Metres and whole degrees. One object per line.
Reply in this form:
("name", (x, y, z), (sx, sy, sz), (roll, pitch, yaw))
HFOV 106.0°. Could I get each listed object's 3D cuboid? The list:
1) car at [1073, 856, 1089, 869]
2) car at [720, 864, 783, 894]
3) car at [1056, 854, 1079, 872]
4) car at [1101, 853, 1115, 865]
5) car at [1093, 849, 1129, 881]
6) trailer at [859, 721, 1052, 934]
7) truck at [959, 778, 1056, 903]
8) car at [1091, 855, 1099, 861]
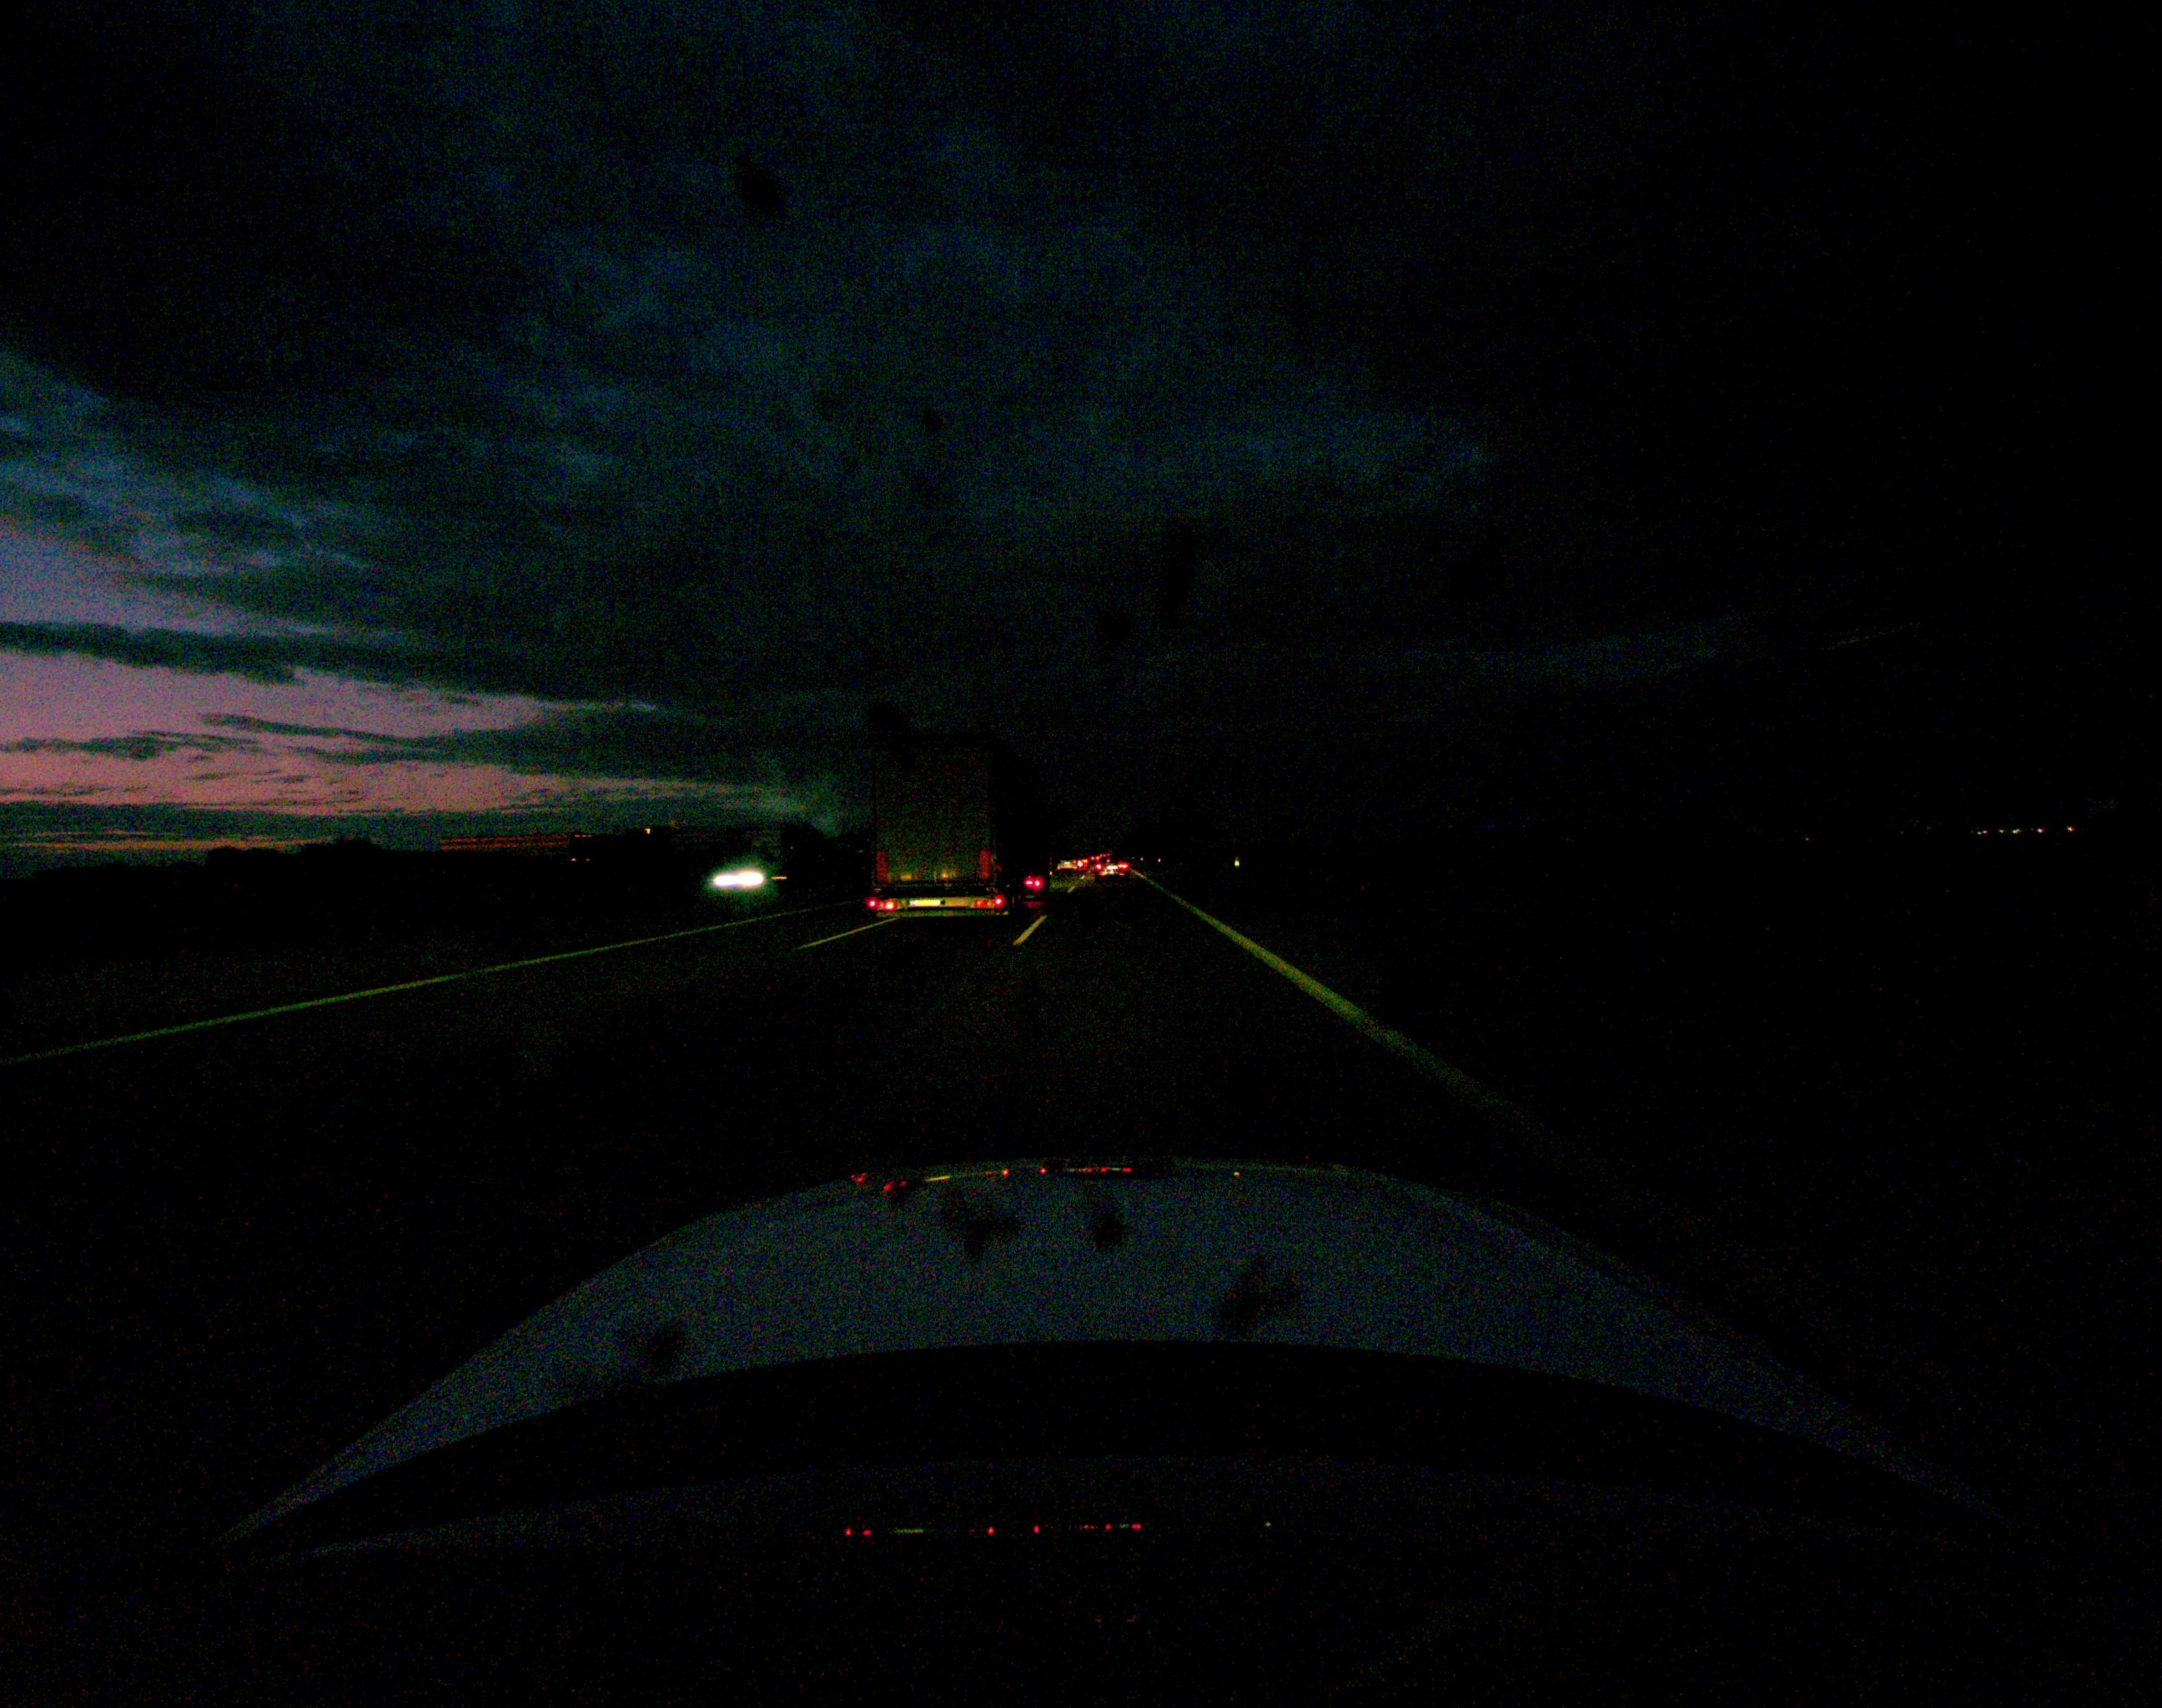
("car", (0.029, 0.990, 92.294), (1.716, 1.471, 4.727), (0, -1, 2))
("car", (-21.520, 1.588, 53.411), (1.986, 1.847, 4.959), (0, -1, 2))
("car", (-1.165, 0.818, 71.053), (1.737, 1.525, 4.417), (0, -1, 2))
("car", (3.524, 0.623, 107.038), (1.873, 1.552, 4.001), (0, -1, 1))
("car", (1.633, 0.589, 44.132), (1.873, 1.643, 4.002), (0, -1, 2))
("trailer", (-2.710, -0.448, 23.129), (2.784, 4.085, 14.529), (-2, -1, 1))
("truck", (-2.529, -0.416, 29.994), (2.767, 4.093, 6.104), (-1, -1, 1))
("car", (3.642, 1.169, 211.996), (1.873, 1.552, 4.001), (0, -1, 1))
